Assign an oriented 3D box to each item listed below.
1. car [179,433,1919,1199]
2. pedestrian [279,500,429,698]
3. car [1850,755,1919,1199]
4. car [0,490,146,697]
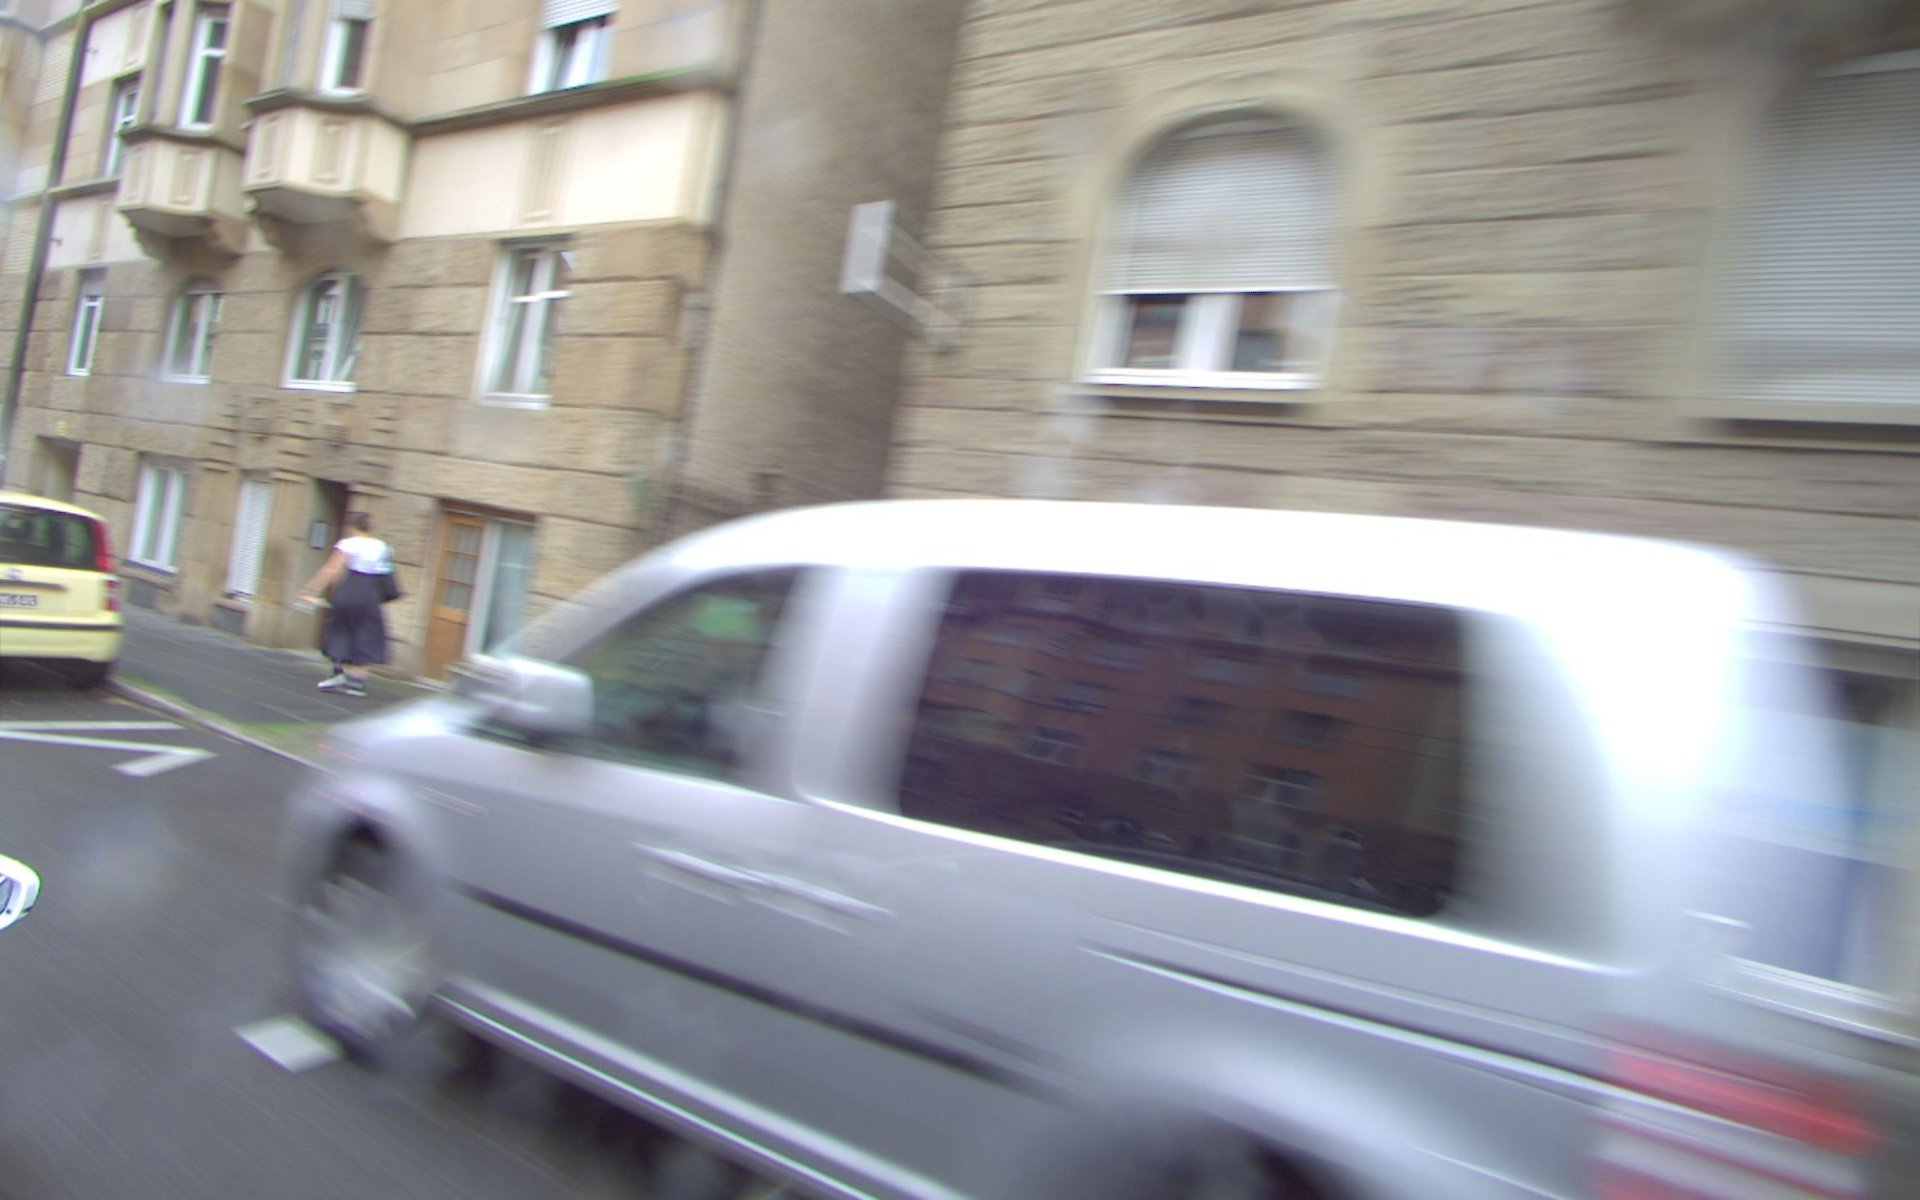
[{"bbox_3d":[-0.292,0.640,3.072,4.288,1.797,1.778,8,-1,32],"label":"car"},{"bbox_3d":[-5.755,0.011,9.583,0.599,1.753,0.863,7,-1,31],"label":"pedestrian"},{"bbox_3d":[3.618,1.244,0.814,3.933,1.458,1.998,7,-1,30],"label":"car"},{"bbox_3d":[-8.523,-0.236,8.358,3.403,1.494,1.563,7,-2,32],"label":"car"}]
